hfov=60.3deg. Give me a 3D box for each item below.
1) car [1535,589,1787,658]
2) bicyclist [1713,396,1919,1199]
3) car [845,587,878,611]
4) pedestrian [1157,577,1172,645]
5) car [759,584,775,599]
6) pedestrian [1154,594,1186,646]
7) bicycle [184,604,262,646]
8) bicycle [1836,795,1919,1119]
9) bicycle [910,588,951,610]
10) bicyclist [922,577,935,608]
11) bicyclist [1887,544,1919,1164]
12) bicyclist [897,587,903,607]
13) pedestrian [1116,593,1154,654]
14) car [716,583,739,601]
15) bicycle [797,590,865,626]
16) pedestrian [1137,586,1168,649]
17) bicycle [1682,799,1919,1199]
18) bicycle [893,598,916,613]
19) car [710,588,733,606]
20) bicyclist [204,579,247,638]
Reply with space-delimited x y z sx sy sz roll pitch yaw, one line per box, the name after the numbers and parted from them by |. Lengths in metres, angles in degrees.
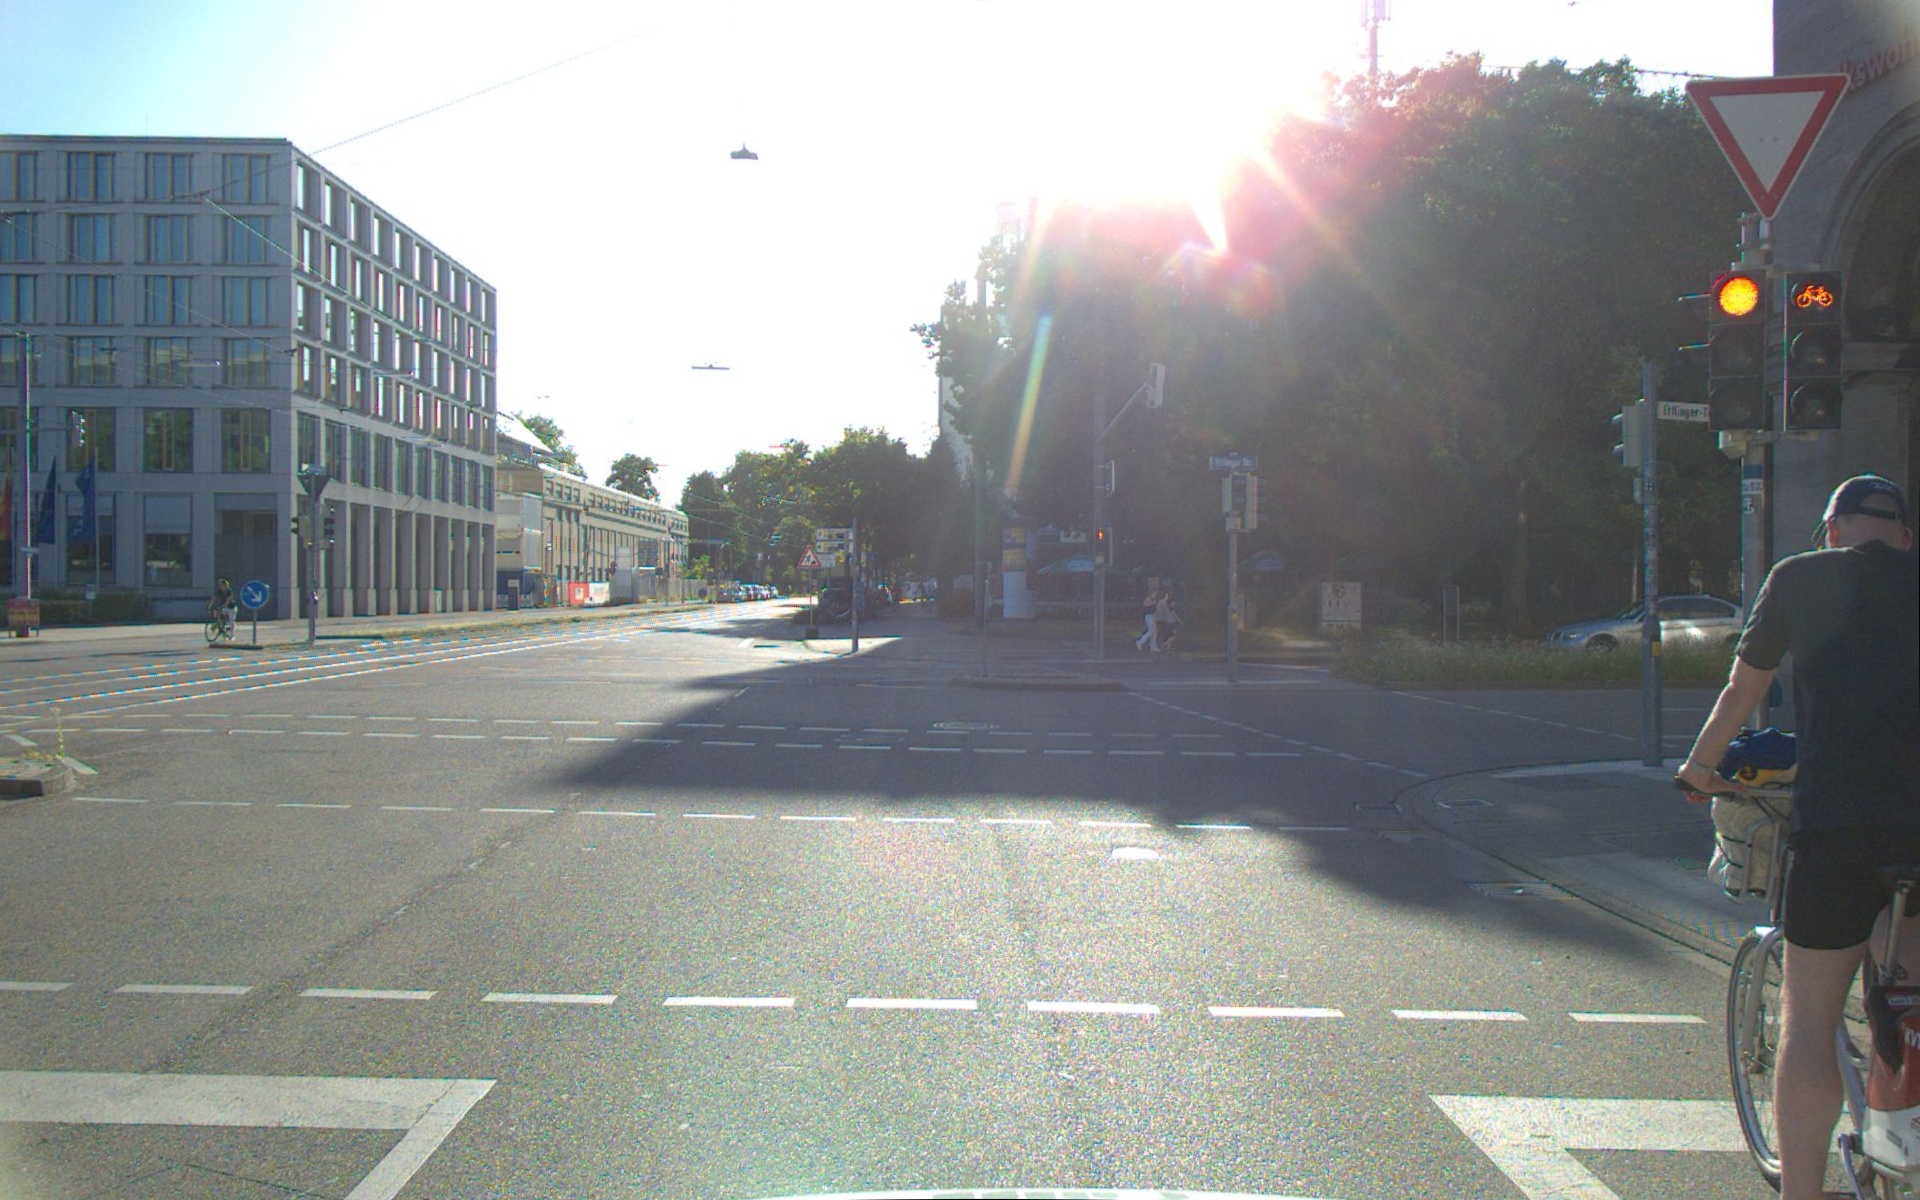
14.148 0.461 33.550 4.350 1.352 1.777 0 0 2 | car
2.150 0.429 3.732 0.655 1.707 0.657 0 0 8 | bicyclist
-5.478 -0.066 92.251 1.783 1.301 3.998 0 0 -3 | car
5.507 0.293 44.471 0.353 1.836 0.507 0 0 11 | pedestrian
-22.651 -0.990 193.989 1.453 1.780 3.999 0 0 -1 | car
5.521 0.514 43.454 0.737 1.356 0.742 0 0 0 | pedestrian
-20.971 0.696 47.119 0.857 1.140 3.013 0 0 0 | bicycle
3.009 1.081 4.364 0.418 0.891 1.951 0 0 2 | bicycle
-1.833 -0.051 102.887 2.520 1.311 0.727 1 0 -7 | bicycle
-1.986 -0.462 103.014 0.788 1.876 0.731 0 0 -2 | bicyclist
2.889 0.701 4.279 0.511 1.709 0.859 0 0 2 | bicyclist
-3.588 -0.169 98.371 0.311 1.147 0.291 0 0 8 | bicyclist
4.637 0.623 43.861 0.964 1.615 0.660 0 -1 1 | pedestrian
-22.421 -0.767 159.781 1.695 1.682 3.999 0 0 -1 | car
-5.227 0.328 67.058 2.688 1.391 0.631 1 -1 10 | bicycle
5.186 0.468 44.540 0.779 1.668 0.533 0 0 2 | pedestrian
2.222 1.059 3.953 0.381 0.921 1.952 0 0 8 | bicycle
-3.316 0.316 98.662 1.469 0.883 0.320 0 0 -40 | bicycle
-22.432 -0.290 155.745 1.695 1.682 3.999 0 0 -1 | car
-20.974 0.239 47.262 0.857 1.670 0.822 0 0 0 | bicyclist
